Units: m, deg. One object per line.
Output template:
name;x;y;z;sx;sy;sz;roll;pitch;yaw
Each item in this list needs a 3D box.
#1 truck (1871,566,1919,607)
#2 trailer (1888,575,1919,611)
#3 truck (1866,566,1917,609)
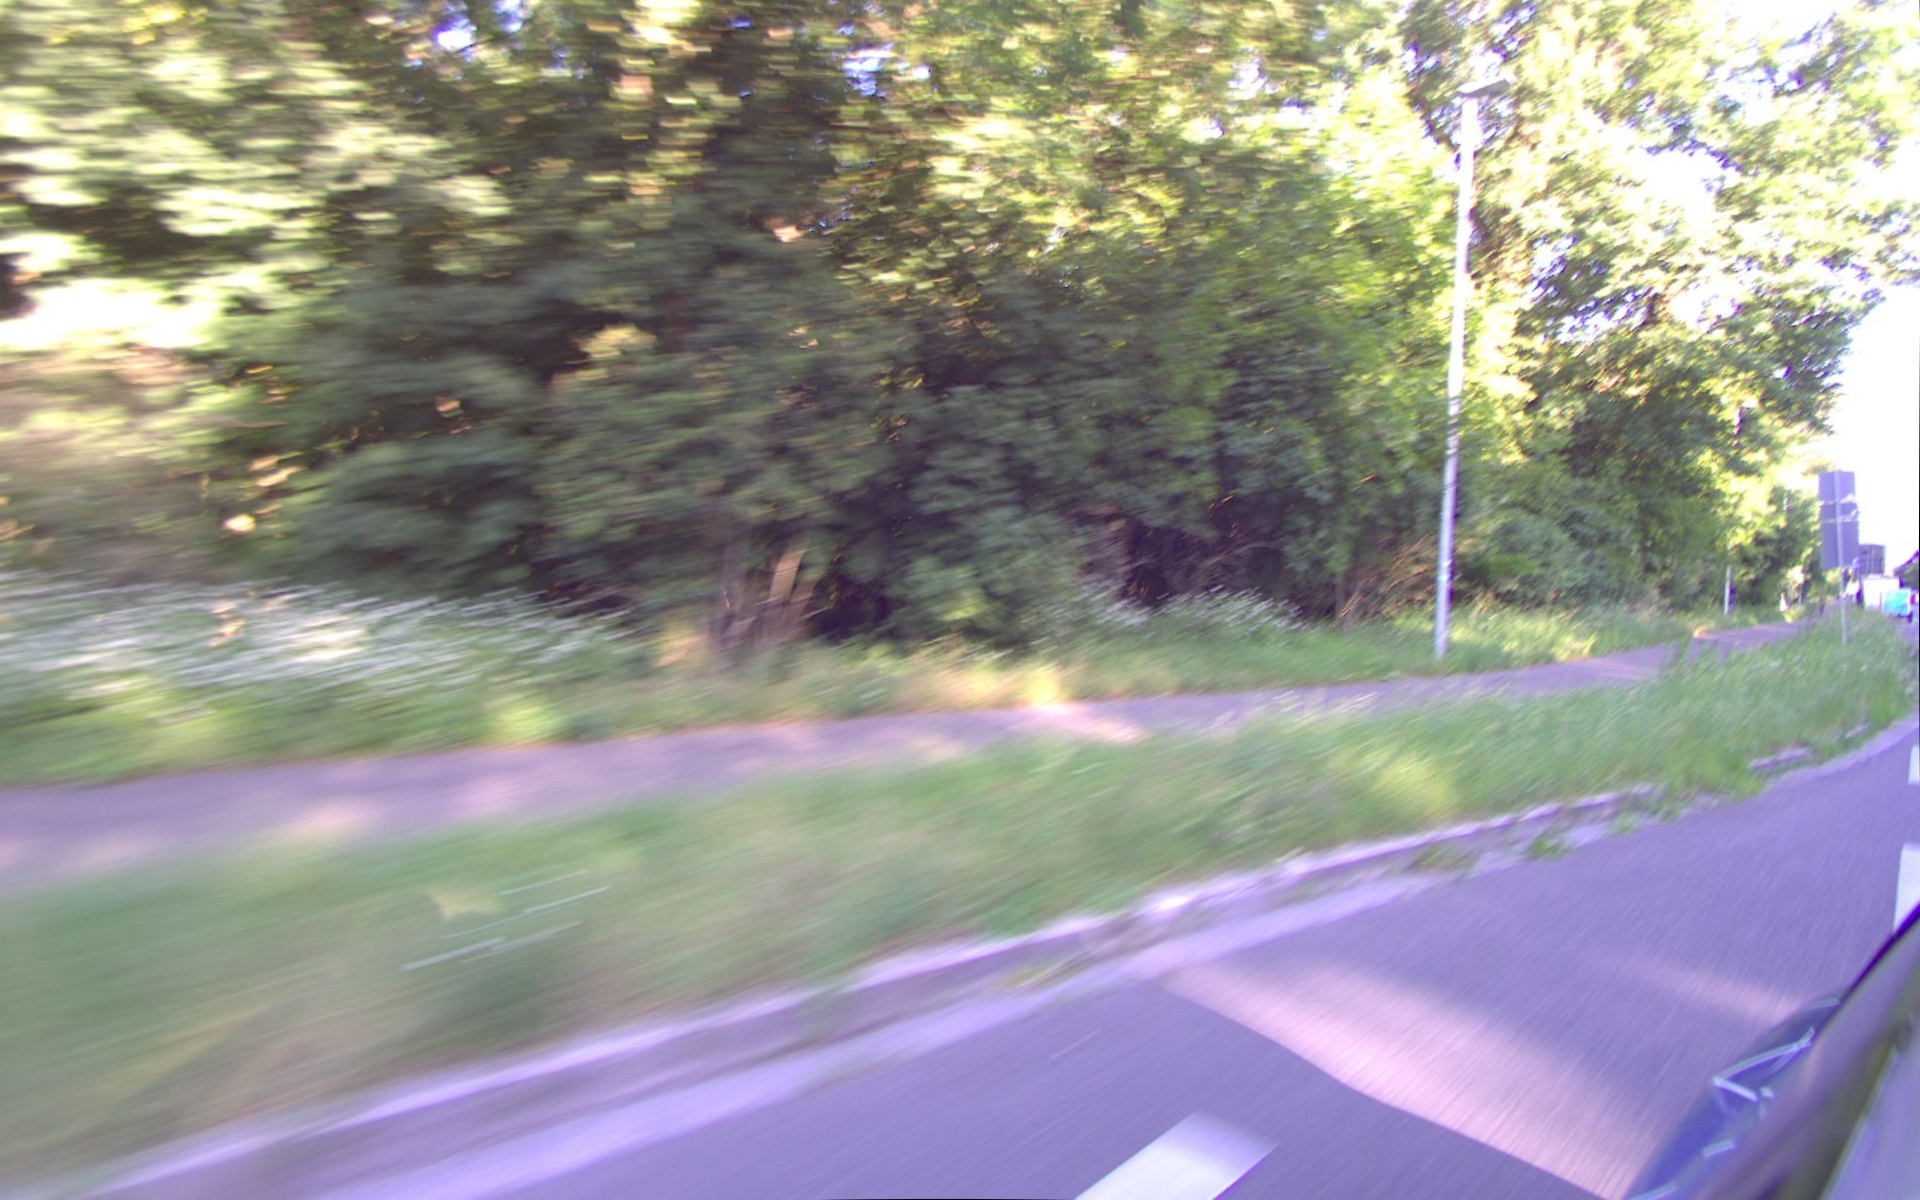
truck;70.171;-1.035;76.014;2.381;2.908;5.517;-1;1;41
trailer;60.381;-0.475;64.346;1.863;2.205;4.068;1;2;41
truck;76.806;-1.067;83.557;2.697;3.276;7.024;4;4;41
